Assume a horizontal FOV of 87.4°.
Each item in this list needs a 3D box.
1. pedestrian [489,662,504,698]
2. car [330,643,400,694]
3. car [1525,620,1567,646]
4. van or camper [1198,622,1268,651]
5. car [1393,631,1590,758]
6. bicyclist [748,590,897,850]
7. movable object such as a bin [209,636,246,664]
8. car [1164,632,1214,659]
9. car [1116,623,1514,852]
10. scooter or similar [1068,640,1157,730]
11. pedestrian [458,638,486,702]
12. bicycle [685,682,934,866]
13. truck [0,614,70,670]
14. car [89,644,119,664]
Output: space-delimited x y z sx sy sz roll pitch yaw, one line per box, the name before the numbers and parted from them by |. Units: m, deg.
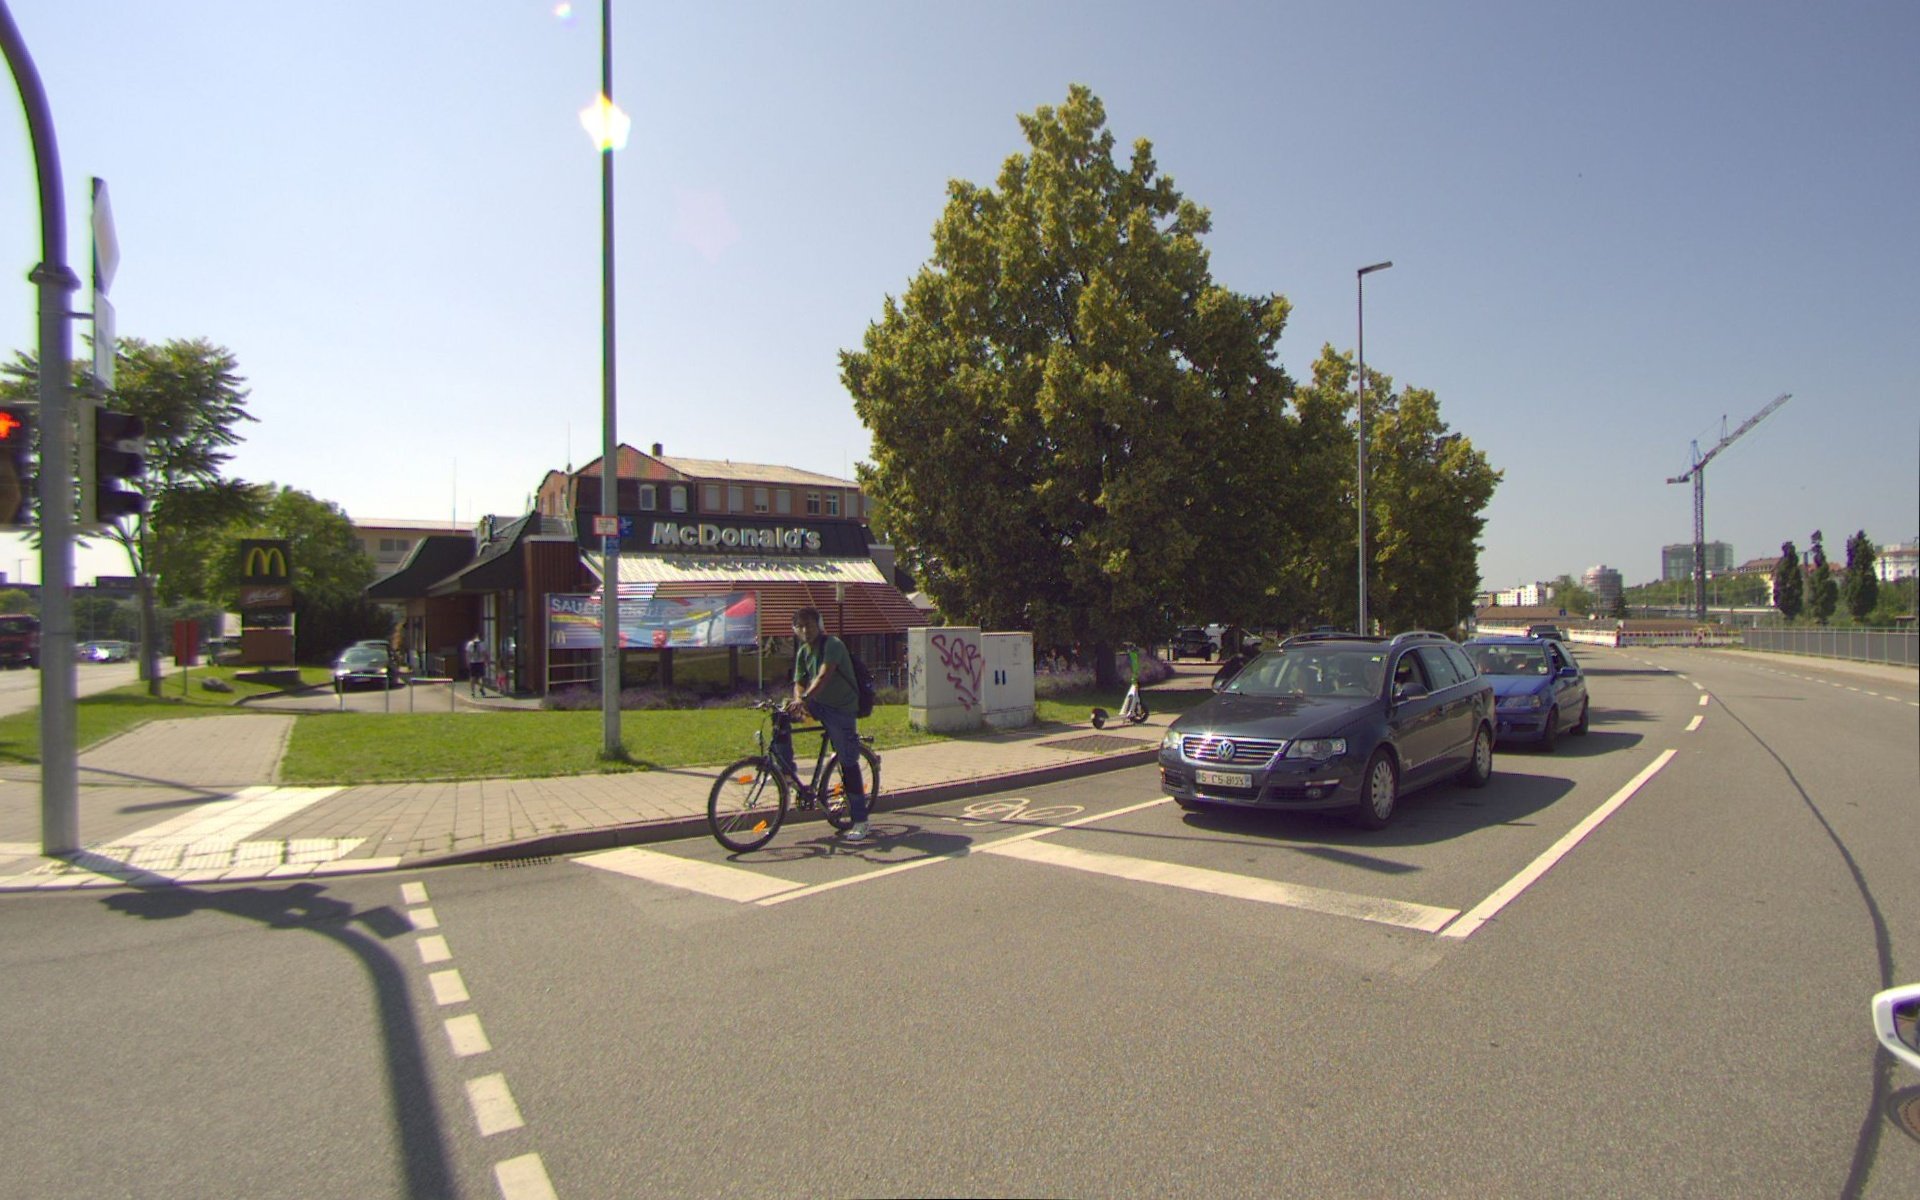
pedestrian | -13.508 2.341 29.298 0.376 1.010 0.508 0 -1 -22
car | -20.693 2.342 35.074 1.842 1.572 4.159 0 -2 -27
car | 39.598 2.203 67.941 1.919 1.717 4.610 -1 -2 24
van or camper | 17.495 2.316 64.491 4.198 1.763 2.001 -1 -1 13
car | 7.304 1.154 13.608 1.636 1.399 3.982 -2 -2 39
bicyclist | -1.037 0.856 7.548 0.803 1.812 0.703 0 -3 -44
movable object such as a bin | -37.944 2.572 52.072 1.453 1.429 1.443 0 -1 -33
car | 11.857 2.347 52.203 1.577 1.303 4.000 -1 -1 -1
car | 3.477 1.001 9.198 1.760 1.516 4.696 -2 -2 42
scooter or similar | 2.186 1.183 14.350 1.354 1.200 0.467 0 -1 -40
pedestrian | -14.086 2.005 29.014 0.629 1.781 0.888 0 -1 -22
bicycle | -1.077 1.216 7.481 1.744 1.119 0.690 0 -3 -45
truck | -61.149 2.684 65.535 3.279 3.431 9.085 0 -1 -33
car | -78.362 4.915 91.964 1.818 1.684 3.959 0 -2 -36
